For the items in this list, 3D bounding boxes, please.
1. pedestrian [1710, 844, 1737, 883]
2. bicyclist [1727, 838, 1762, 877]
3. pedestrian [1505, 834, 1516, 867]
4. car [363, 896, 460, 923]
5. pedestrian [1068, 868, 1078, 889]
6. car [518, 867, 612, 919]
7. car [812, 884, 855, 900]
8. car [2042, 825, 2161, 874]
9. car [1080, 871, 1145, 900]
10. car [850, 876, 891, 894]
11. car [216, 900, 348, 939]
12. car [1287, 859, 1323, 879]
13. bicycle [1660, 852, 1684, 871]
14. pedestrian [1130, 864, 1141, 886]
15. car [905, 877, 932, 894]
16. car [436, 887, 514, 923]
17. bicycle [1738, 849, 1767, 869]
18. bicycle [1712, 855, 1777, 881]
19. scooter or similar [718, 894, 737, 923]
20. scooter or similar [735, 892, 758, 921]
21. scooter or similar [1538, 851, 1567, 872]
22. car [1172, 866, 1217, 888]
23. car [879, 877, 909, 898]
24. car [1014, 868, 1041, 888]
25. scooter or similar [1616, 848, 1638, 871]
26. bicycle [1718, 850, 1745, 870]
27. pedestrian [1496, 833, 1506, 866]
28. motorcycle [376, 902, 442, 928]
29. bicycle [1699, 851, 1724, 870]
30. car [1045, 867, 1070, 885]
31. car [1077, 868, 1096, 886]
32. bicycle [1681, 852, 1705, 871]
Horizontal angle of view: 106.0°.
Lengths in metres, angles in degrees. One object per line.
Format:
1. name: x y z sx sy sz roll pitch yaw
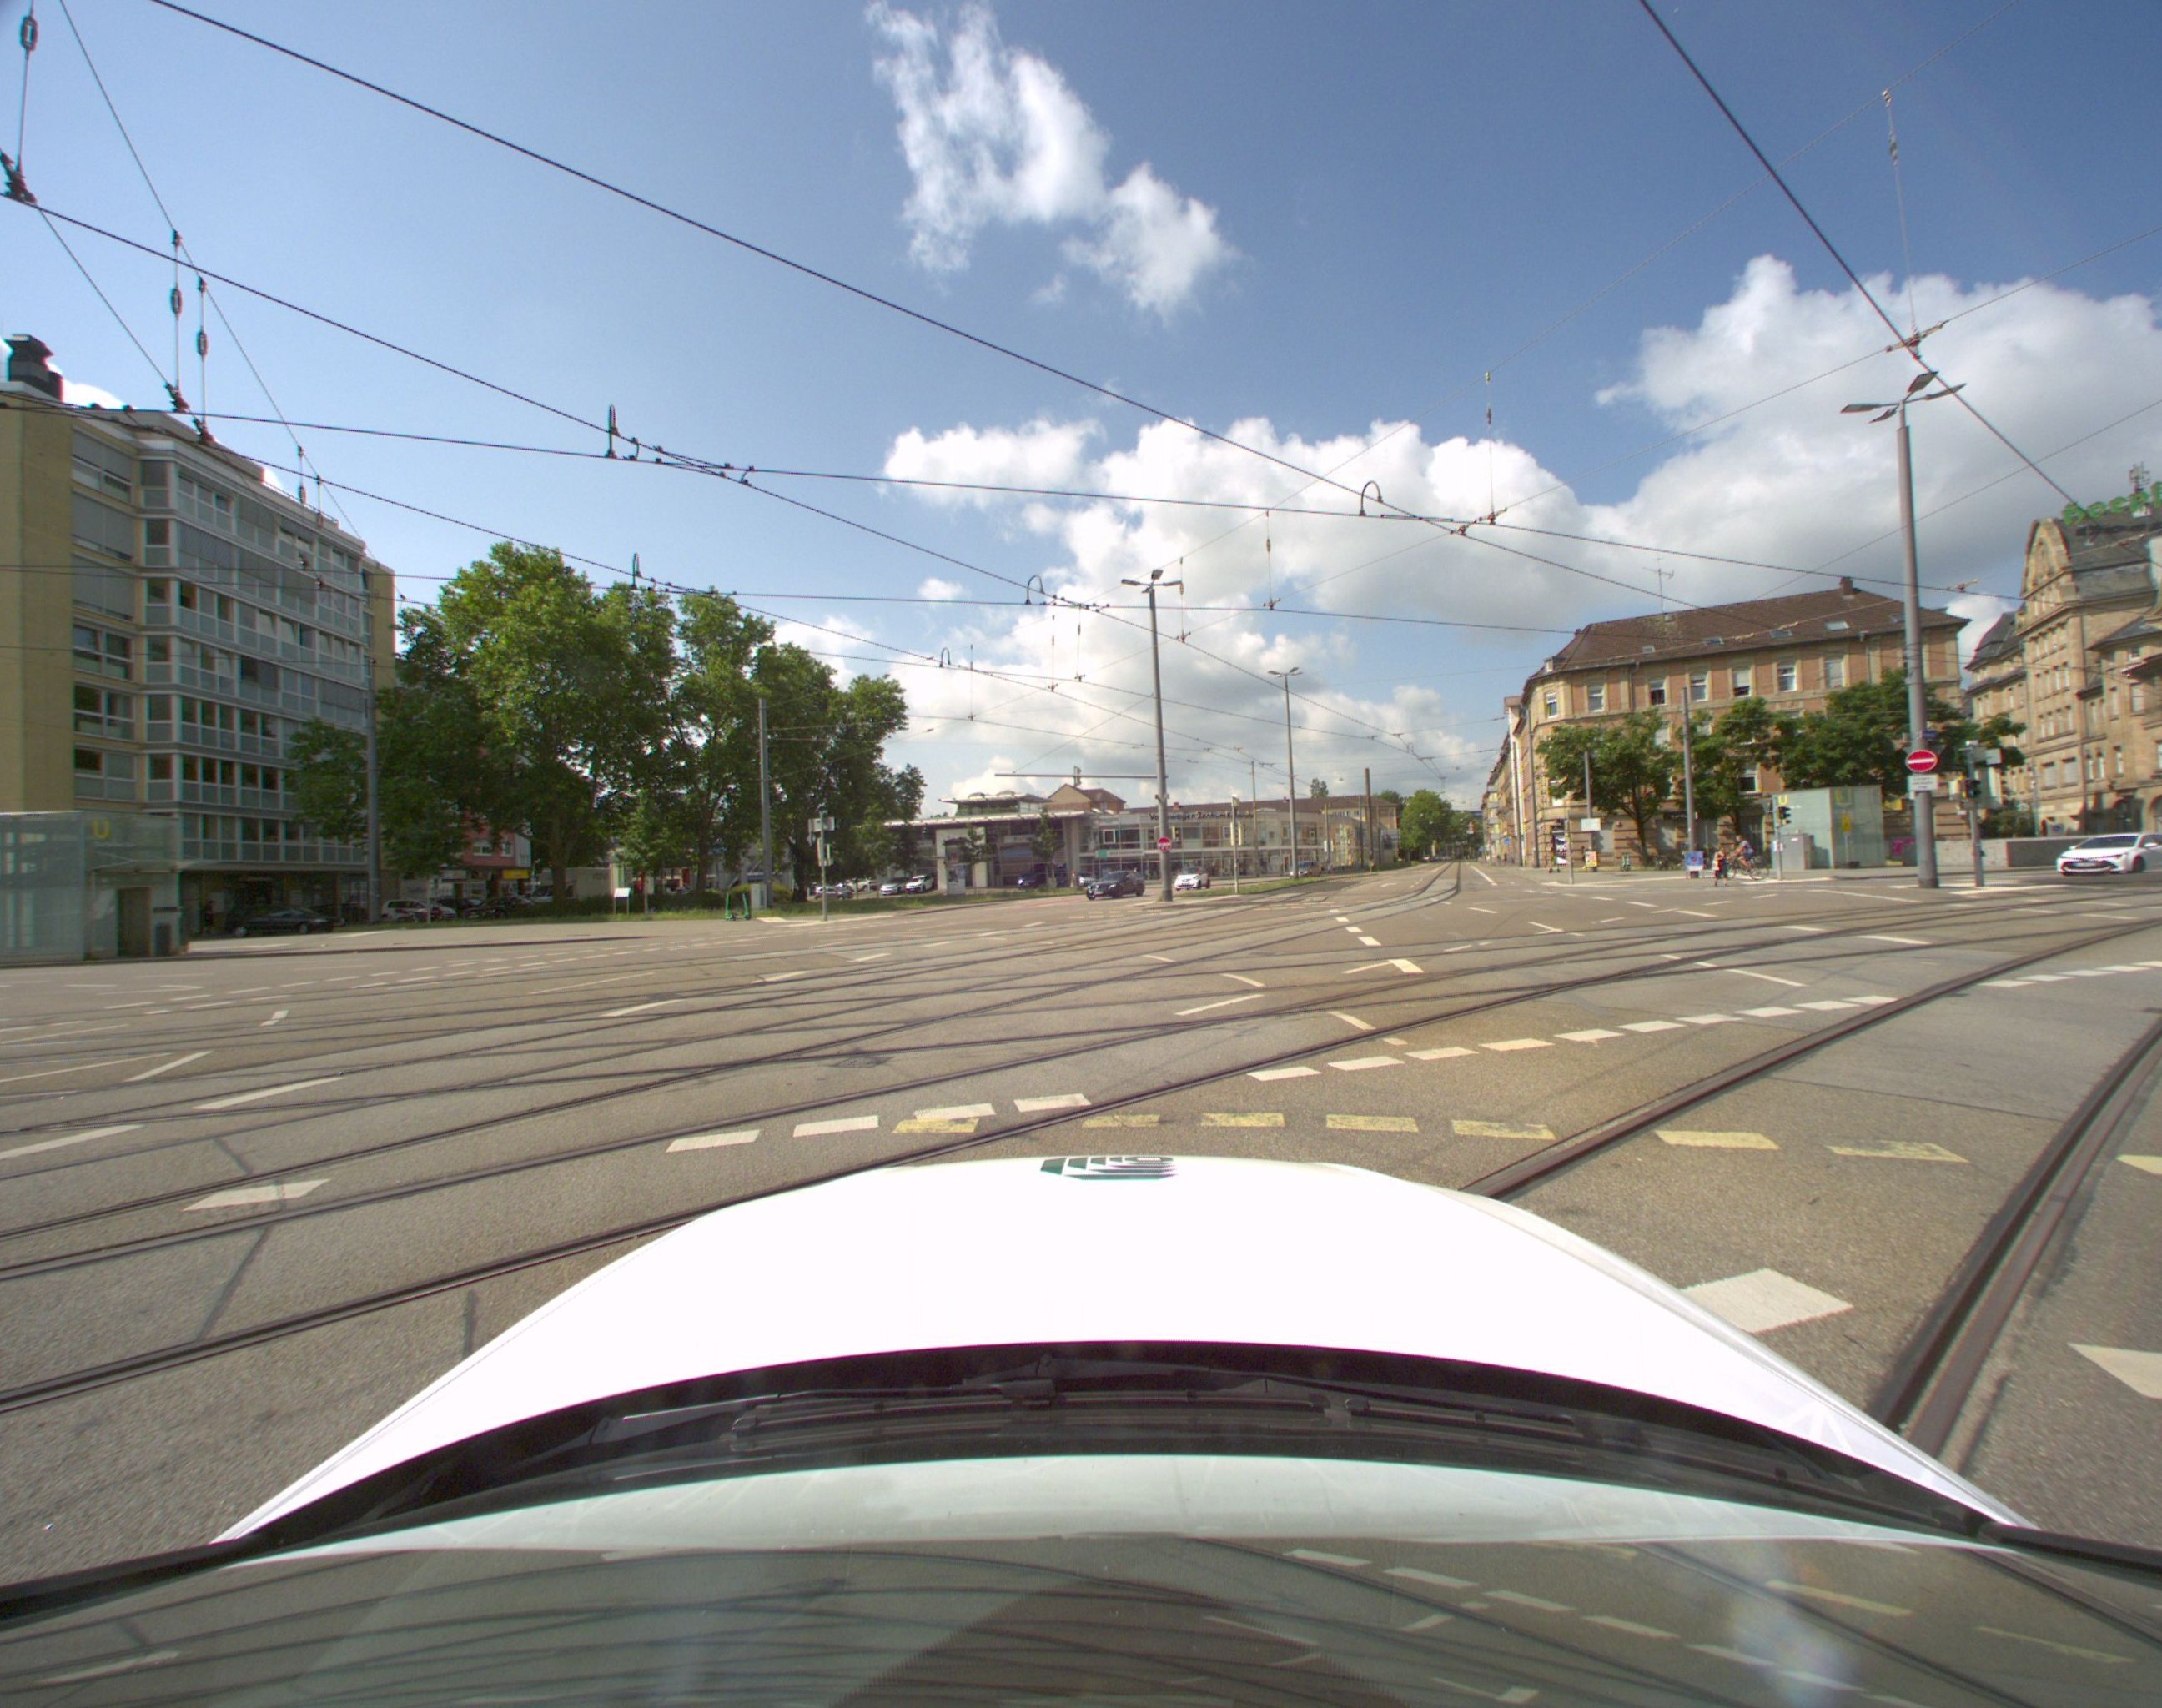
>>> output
1. pedestrian: 25.337 0.373 32.125 0.733 1.516 0.548 -3 -2 33
2. bicyclist: 29.148 0.178 35.771 1.133 1.675 0.619 -2 -3 38
3. pedestrian: 41.223 -0.330 78.128 0.717 3.076 0.893 -2 -2 34
4. car: -39.673 3.264 48.342 4.079 1.514 1.804 0 -2 -8
5. pedestrian: -0.759 2.281 76.103 0.802 2.014 0.811 -1 -2 14
6. car: -32.984 2.464 52.384 1.991 3.043 7.233 -2 -2 -6
7. car: -24.064 3.674 79.314 3.647 1.488 1.677 0 -1 10
8. car: 36.555 -0.129 28.647 4.502 1.596 1.945 0 -2 -17
9. car: 1.735 1.658 43.477 1.847 1.376 3.964 -3 -1 29
10. car: -23.658 3.505 91.473 3.958 2.014 2.008 -1 -2 15
11. car: -37.578 3.070 38.403 4.079 1.514 1.804 -2 0 -8
12. car: 19.317 1.276 70.216 1.974 1.574 3.760 -3 -1 30
13. bicycle: 37.837 0.493 52.147 0.751 1.166 2.701 -3 -1 27
14. pedestrian: 5.252 2.038 78.516 0.866 2.014 0.704 -2 -1 1
15. car: -16.718 3.238 84.010 1.779 1.682 4.001 -2 -1 2
16. car: -32.936 2.742 44.390 1.997 1.706 3.980 -2 -1 -14
17. bicycle: 41.581 0.321 50.466 0.751 1.166 2.701 -3 -1 27
18. bicycle: 29.157 0.634 35.832 2.169 1.070 0.883 -2 -2 38
19. scooter or similar: -14.907 2.297 34.352 0.384 1.197 1.052 1 -3 -43
20. scooter or similar: -14.213 2.219 34.615 1.051 1.197 0.384 -2 -2 36
21. scooter or similar: 32.094 0.542 55.434 1.167 1.386 2.817 -1 -2 19
22. car: 7.646 1.551 54.780 1.669 1.470 3.679 -2 -2 30
23. car: -19.272 3.437 84.069 1.986 2.014 4.001 0 -2 2
24. car: -5.294 2.376 81.352 1.984 1.838 4.006 -3 -2 5
25. scooter or similar: 35.784 0.355 53.392 0.869 1.482 2.026 -3 -2 25
26. bicycle: 40.643 0.359 50.917 0.751 1.166 2.701 -3 -1 27
27. pedestrian: 40.523 -0.402 78.608 0.659 3.121 0.893 -2 -2 34
28. motorcycle: -31.761 2.877 38.510 0.962 1.030 2.308 -6 -4 42
29. bicycle: 39.747 0.417 51.367 0.751 1.166 2.701 -1 -2 28
30. car: -2.272 2.208 80.315 1.984 1.726 4.004 -1 -2 4
31. car: 0.577 2.300 81.738 1.921 1.684 4.000 0 -2 1
32. bicycle: 38.821 0.447 51.665 0.752 1.165 2.701 0 0 27
